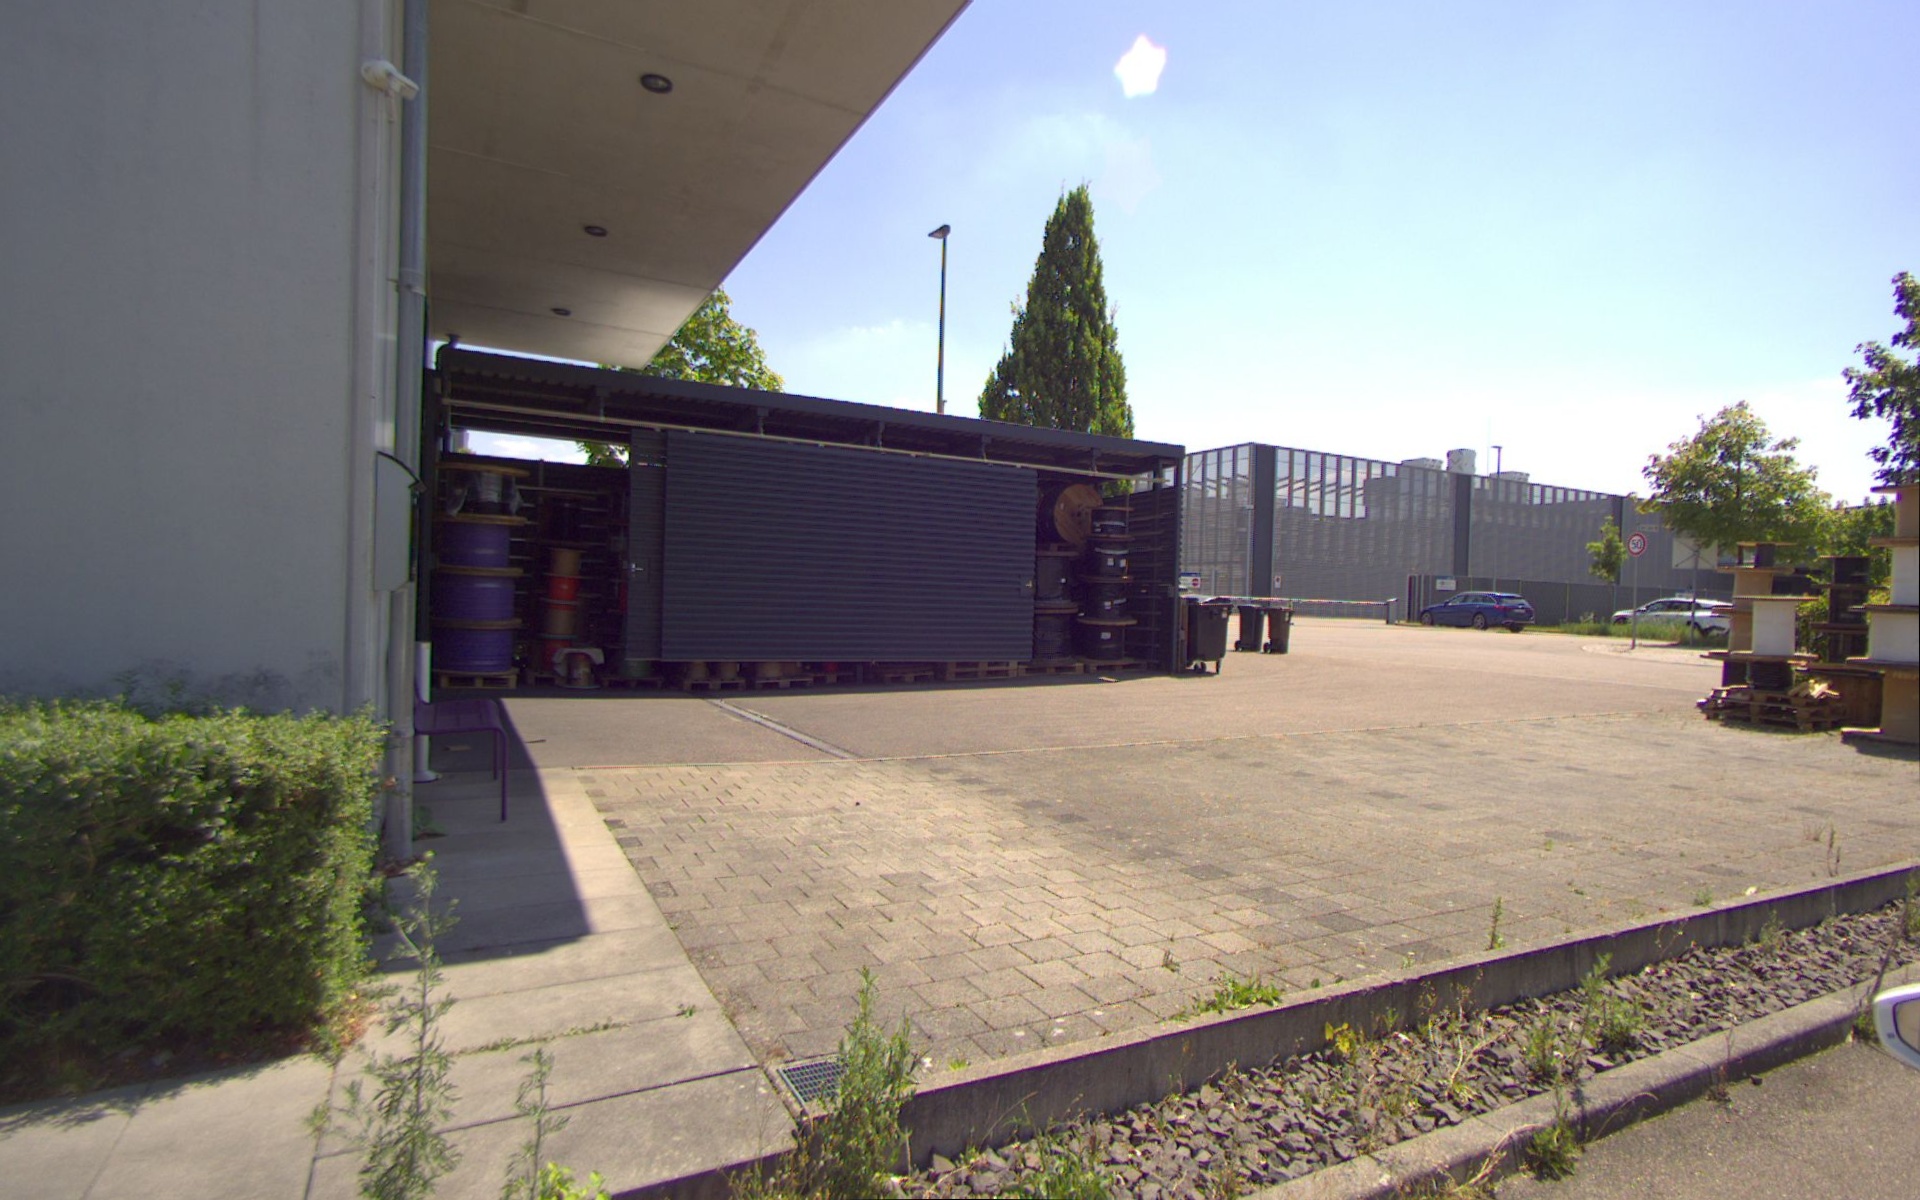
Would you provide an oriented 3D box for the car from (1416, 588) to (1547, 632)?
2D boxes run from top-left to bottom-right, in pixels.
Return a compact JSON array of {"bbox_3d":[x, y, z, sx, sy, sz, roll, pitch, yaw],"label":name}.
[{"bbox_3d":[19.960,0.337,38.679,1.966,1.512,4.501,1,2,-14],"label":"car"}]

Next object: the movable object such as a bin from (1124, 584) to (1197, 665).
[{"bbox_3d":[3.434,0.413,17.207,0.959,1.347,0.706,1,1,-23],"label":"movable object such as a bin"}]

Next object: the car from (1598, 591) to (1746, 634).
[{"bbox_3d":[29.213,0.478,41.411,1.966,1.512,4.840,1,2,-14],"label":"car"}]

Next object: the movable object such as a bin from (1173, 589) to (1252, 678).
[{"bbox_3d":[3.998,0.521,15.937,0.871,1.363,0.809,1,1,-23],"label":"movable object such as a bin"}]

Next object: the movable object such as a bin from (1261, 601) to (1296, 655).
[{"bbox_3d":[6.400,0.550,20.182,0.568,1.050,0.425,2,1,29],"label":"movable object such as a bin"}]

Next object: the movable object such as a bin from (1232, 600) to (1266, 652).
[{"bbox_3d":[5.891,0.524,20.473,0.571,1.041,0.425,2,1,29],"label":"movable object such as a bin"}]

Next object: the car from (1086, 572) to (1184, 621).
[{"bbox_3d":[6.193,-0.160,35.979,1.966,1.511,3.988,3,1,-14],"label":"car"}]
